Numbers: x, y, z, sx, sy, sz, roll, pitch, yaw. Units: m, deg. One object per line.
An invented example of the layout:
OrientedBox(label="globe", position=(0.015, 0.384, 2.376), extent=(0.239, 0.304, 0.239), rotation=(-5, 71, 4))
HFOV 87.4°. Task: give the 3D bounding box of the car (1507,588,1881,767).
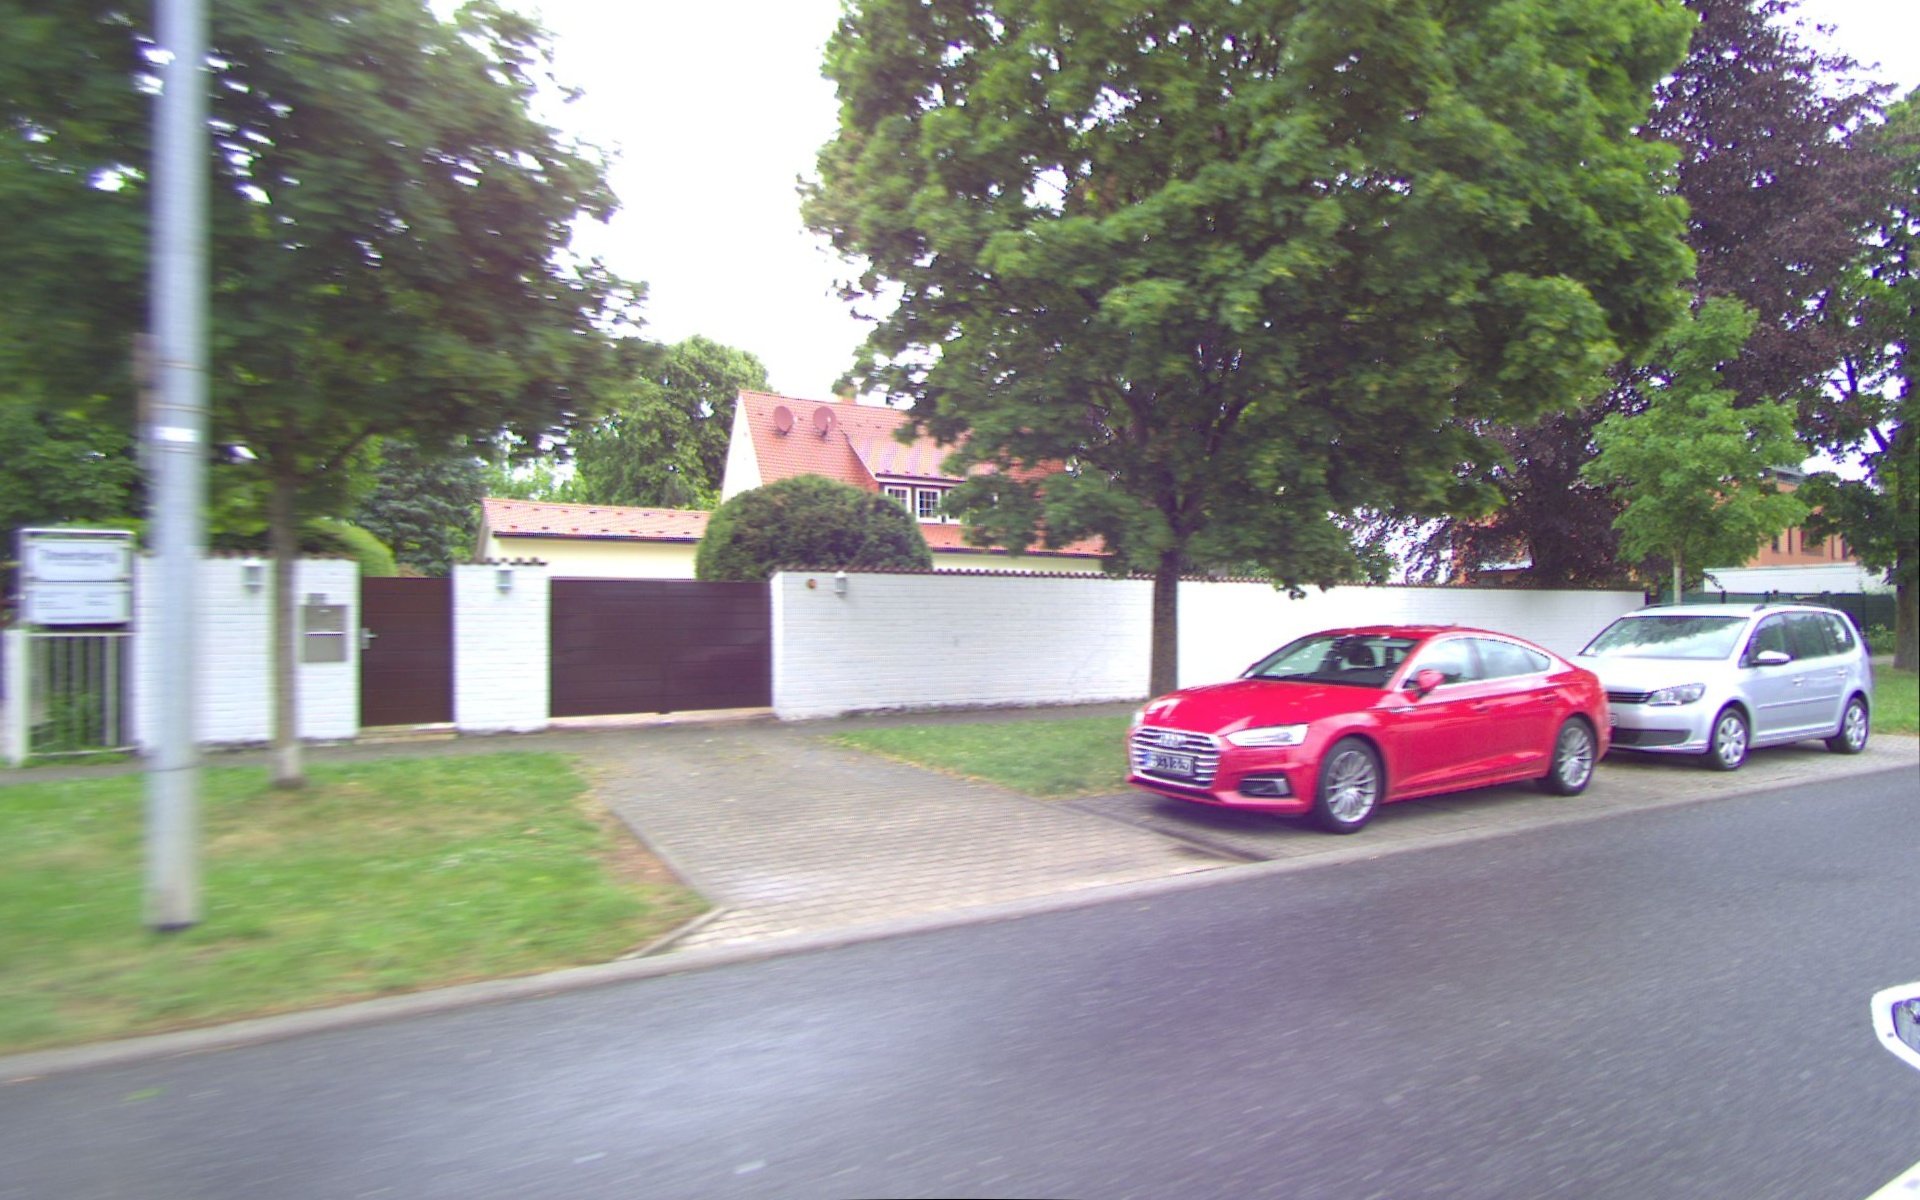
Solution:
OrientedBox(label="car", position=(8.125, 0.743, 11.057), extent=(4.180, 1.649, 1.749), rotation=(0, -1, -29))

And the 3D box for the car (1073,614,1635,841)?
OrientedBox(label="car", position=(3.329, 0.828, 8.290), extent=(4.503, 1.422, 1.984), rotation=(0, -1, -30))
